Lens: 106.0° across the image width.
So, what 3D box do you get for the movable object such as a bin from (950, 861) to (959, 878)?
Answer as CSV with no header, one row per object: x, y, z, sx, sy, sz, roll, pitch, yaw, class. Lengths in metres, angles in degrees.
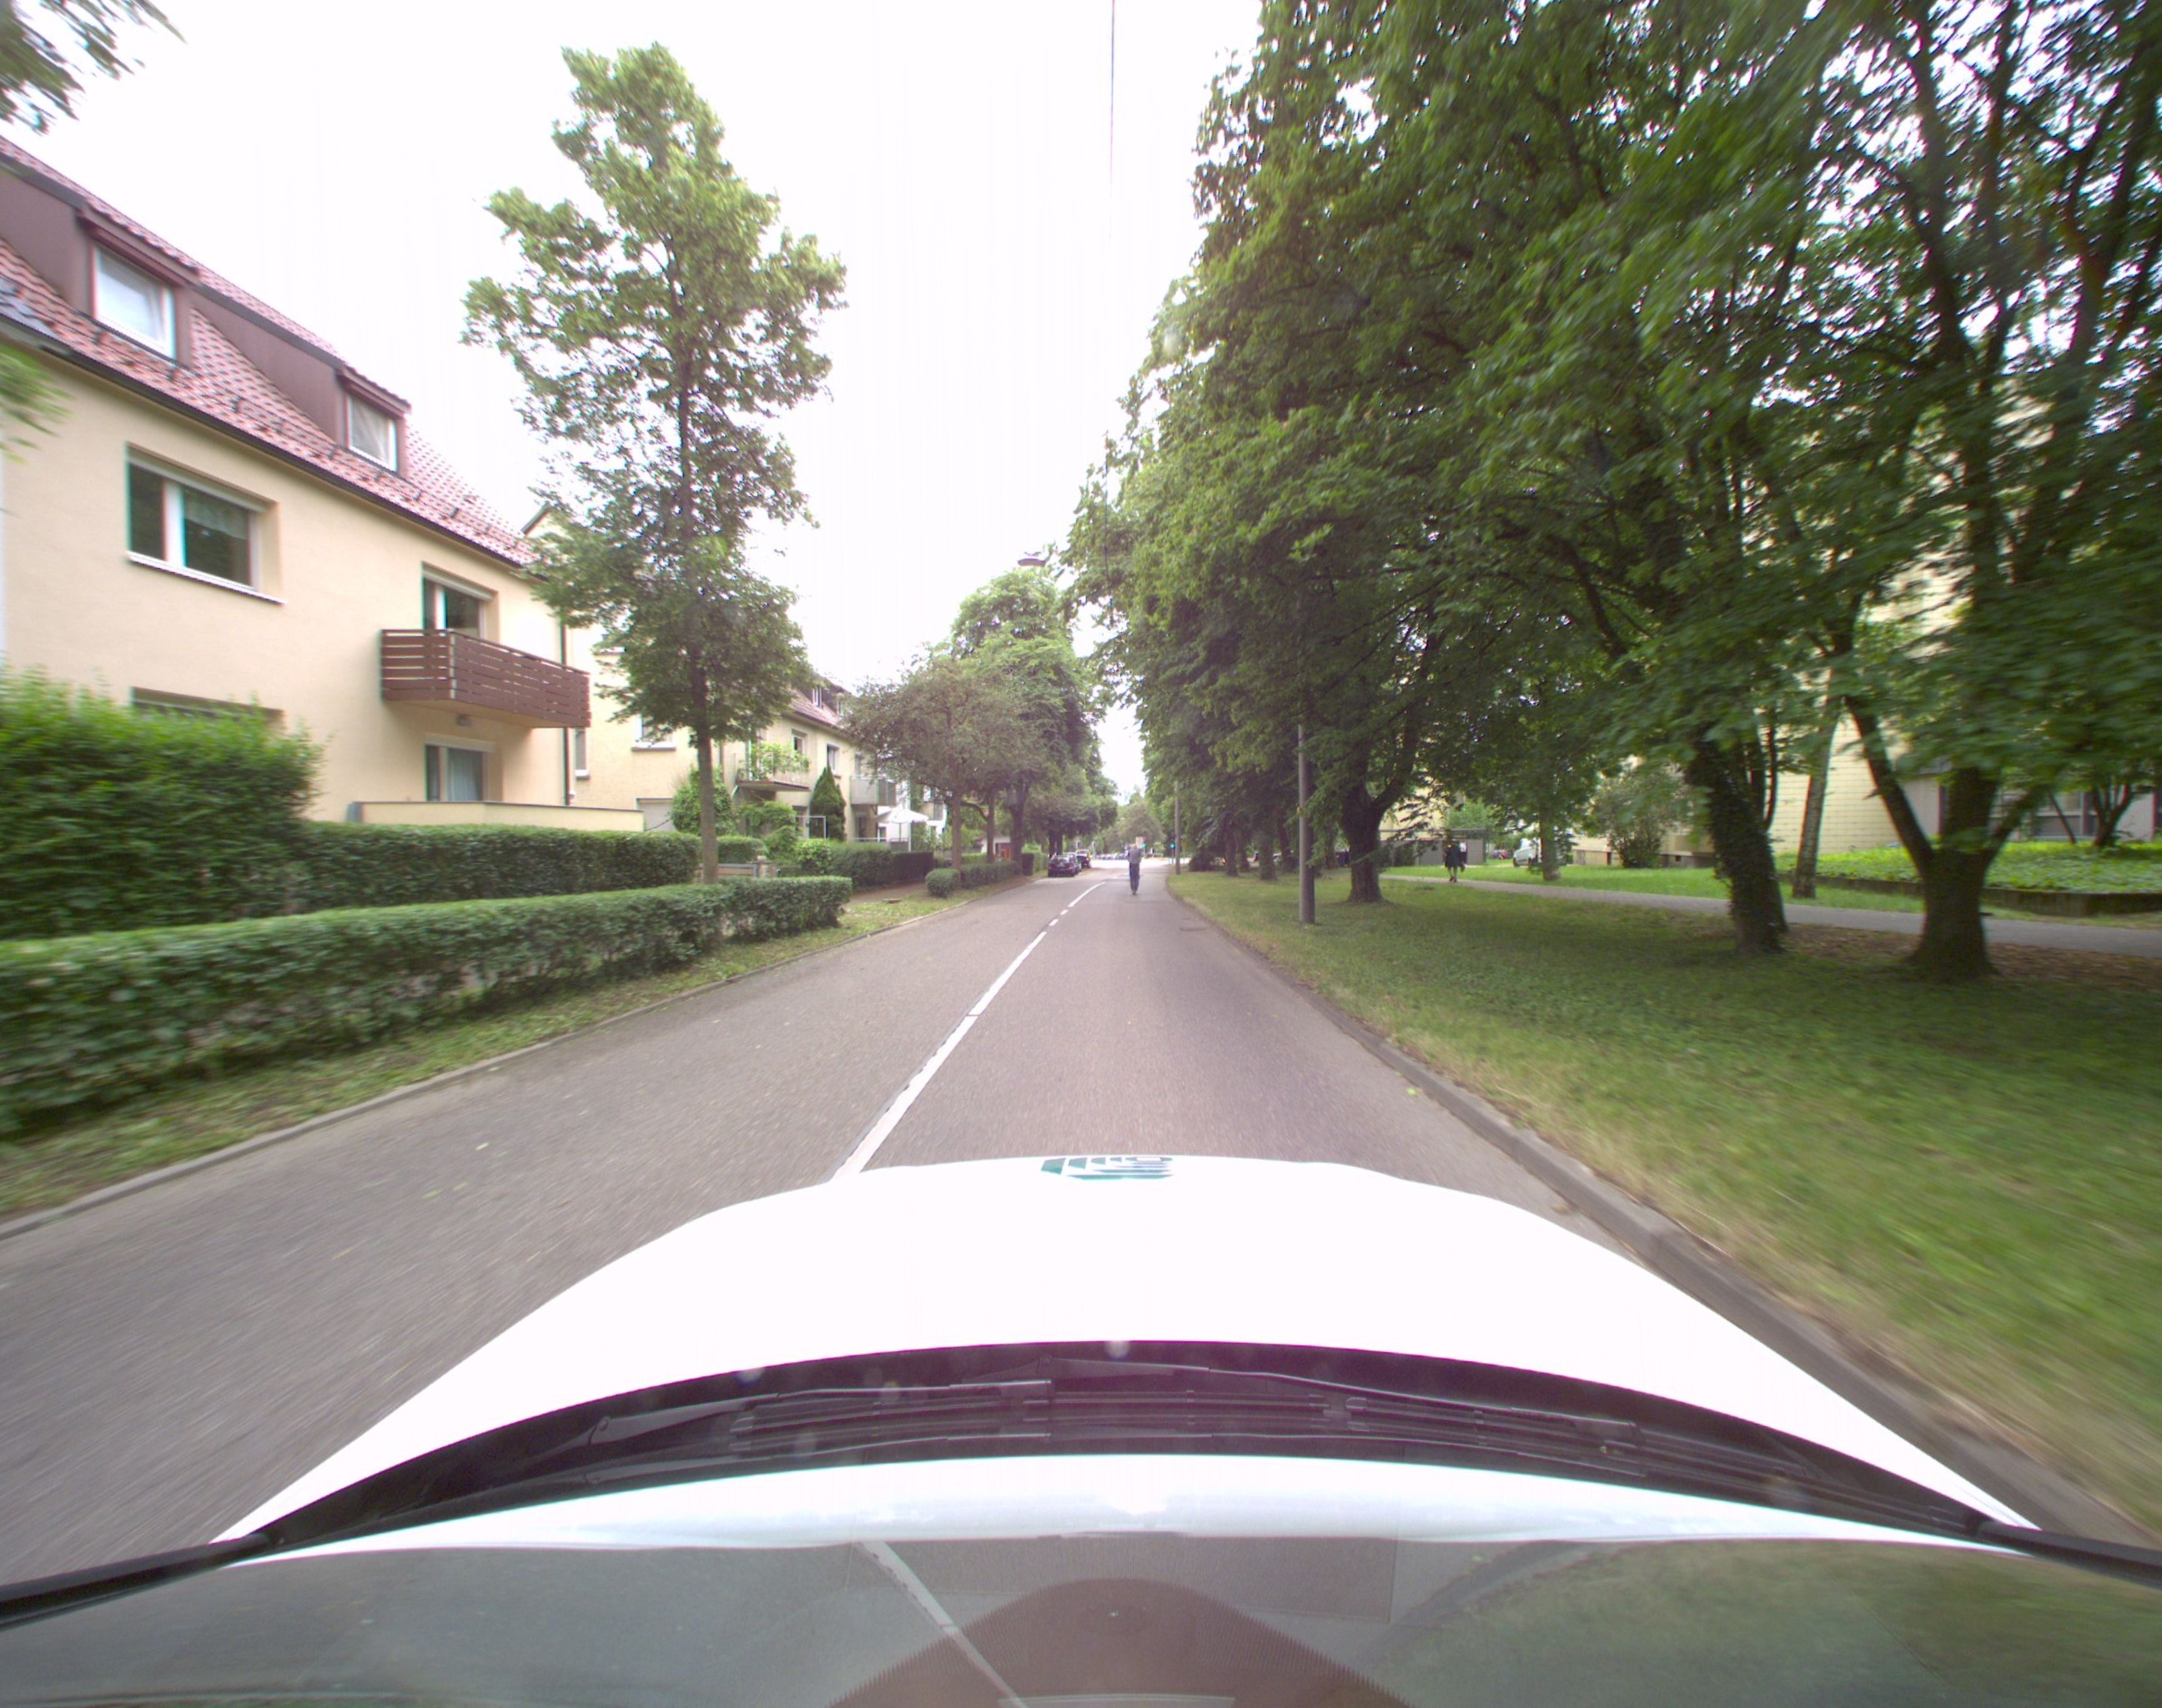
-7.195,0.871,46.274,0.455,0.915,0.508,-1,0,-3,movable object such as a bin

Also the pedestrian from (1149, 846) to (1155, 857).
11.587,-0.467,133.515,0.726,1.762,0.665,-1,-1,22,pedestrian

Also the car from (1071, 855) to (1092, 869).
0.071,0.831,85.867,1.883,1.410,4.558,-1,-1,4,car

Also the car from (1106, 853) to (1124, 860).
7.526,0.615,179.358,3.974,1.510,1.800,-1,0,0,car

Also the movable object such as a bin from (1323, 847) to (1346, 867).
19.502,0.215,62.616,1.322,1.501,1.314,-2,0,0,movable object such as a bin

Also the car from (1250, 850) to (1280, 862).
25.855,0.290,114.401,3.957,1.557,1.808,1,3,15,car

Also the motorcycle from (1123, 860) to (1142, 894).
1.932,0.838,30.400,0.670,1.217,1.275,1,0,4,motorcycle

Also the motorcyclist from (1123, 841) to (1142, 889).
1.950,0.407,30.642,0.670,1.761,0.639,1,0,4,motorcyclist

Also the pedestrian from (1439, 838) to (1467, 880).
15.248,0.198,33.421,0.765,1.686,0.815,-2,0,2,pedestrian

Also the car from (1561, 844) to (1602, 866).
36.475,0.076,59.468,1.779,1.510,4.021,-3,-1,21,car

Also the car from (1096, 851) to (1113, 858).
5.493,0.177,194.162,3.974,1.510,1.800,-1,0,0,car

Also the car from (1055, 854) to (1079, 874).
-0.999,0.721,59.757,1.658,1.391,3.707,-1,0,1,car

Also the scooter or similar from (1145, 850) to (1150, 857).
10.906,-0.097,133.805,0.704,1.049,0.791,-1,-1,22,scooter or similar

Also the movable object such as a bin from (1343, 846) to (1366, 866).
21.026,0.160,62.640,1.322,1.501,1.314,-2,0,0,movable object such as a bin

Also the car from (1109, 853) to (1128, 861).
8.156,0.637,177.430,3.974,1.510,1.800,-1,0,0,car

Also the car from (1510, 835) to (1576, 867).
28.635,-0.234,50.649,2.072,1.842,4.984,-2,1,11,car

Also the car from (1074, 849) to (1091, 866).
0.188,0.418,96.661,1.853,1.964,4.500,-1,-1,-2,car

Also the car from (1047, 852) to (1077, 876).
-1.261,0.656,54.972,1.788,1.472,4.418,-1,0,1,car
